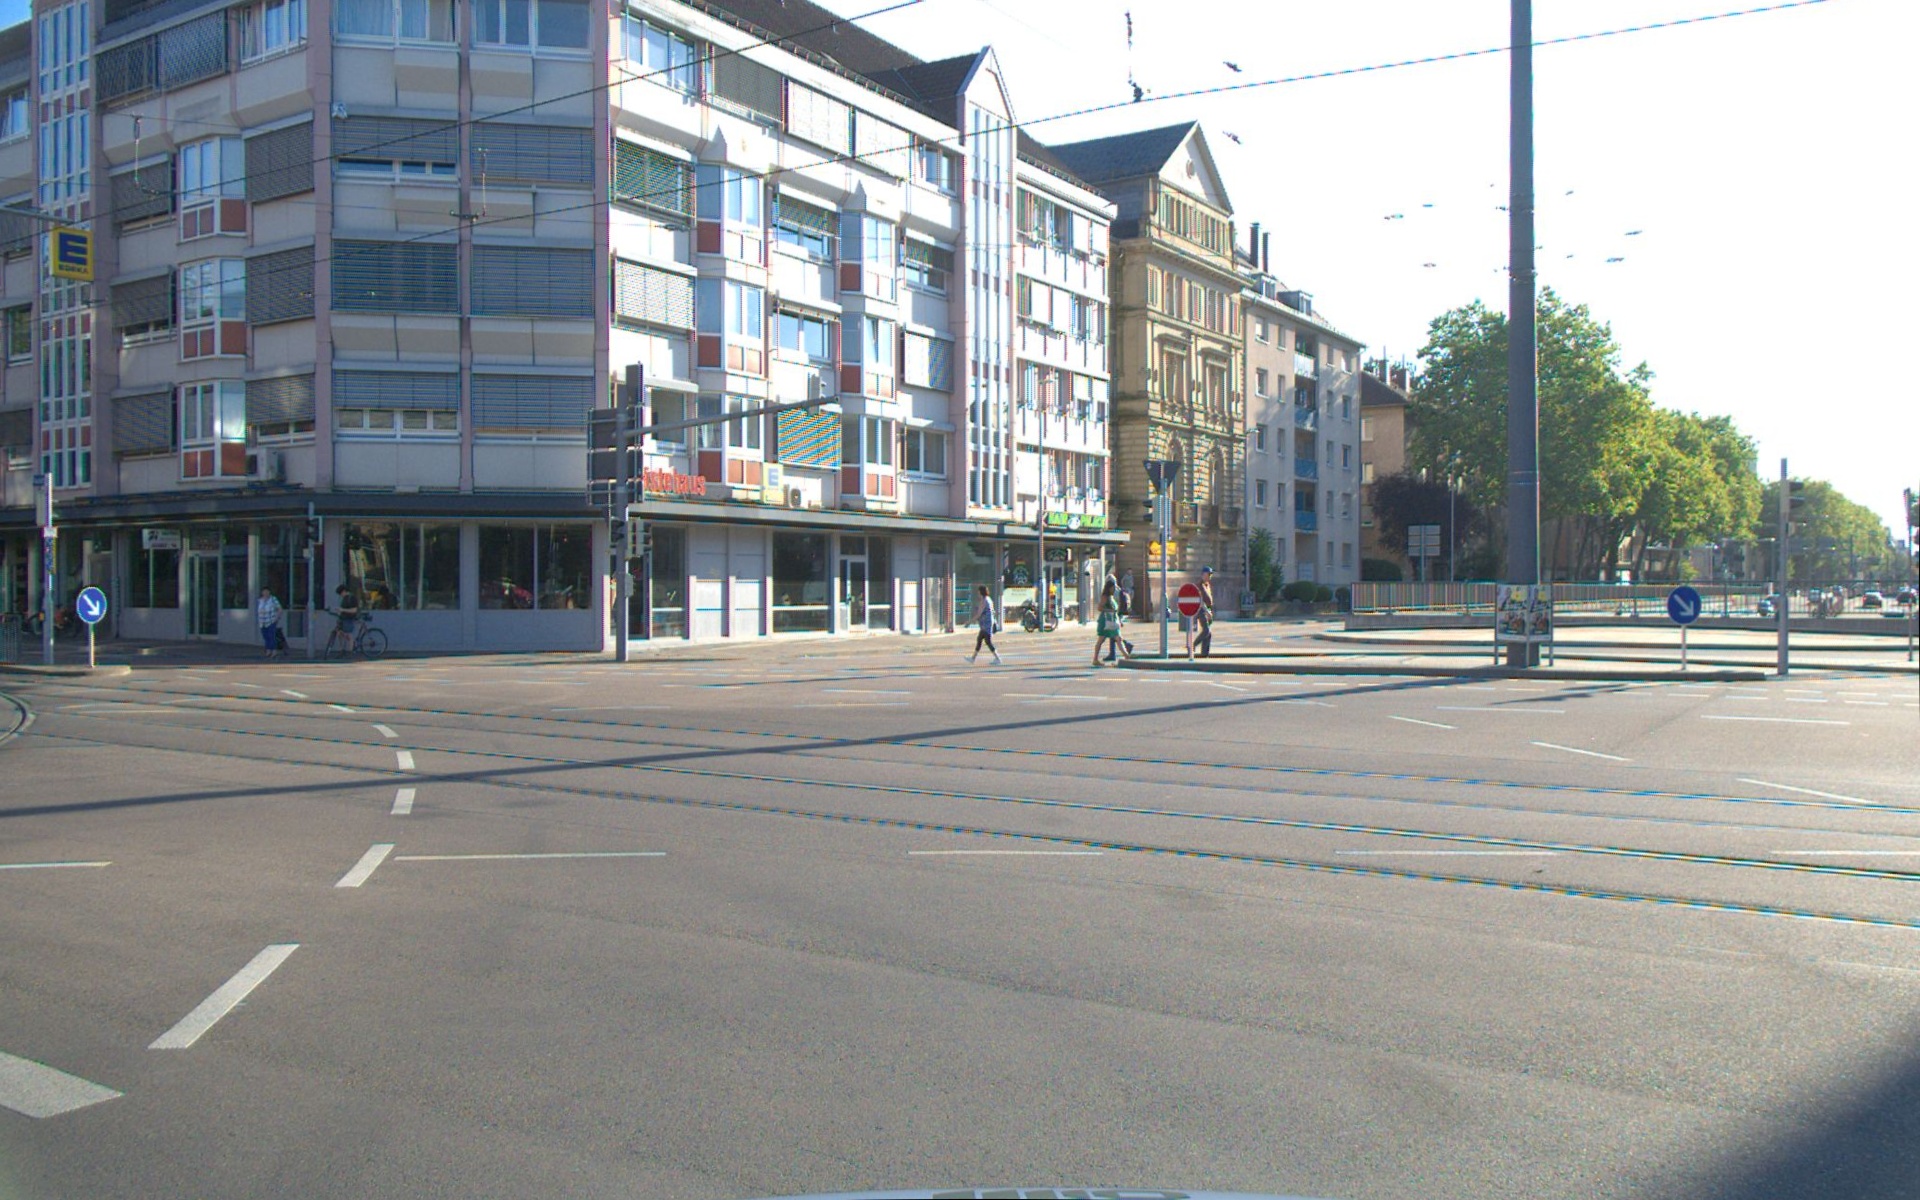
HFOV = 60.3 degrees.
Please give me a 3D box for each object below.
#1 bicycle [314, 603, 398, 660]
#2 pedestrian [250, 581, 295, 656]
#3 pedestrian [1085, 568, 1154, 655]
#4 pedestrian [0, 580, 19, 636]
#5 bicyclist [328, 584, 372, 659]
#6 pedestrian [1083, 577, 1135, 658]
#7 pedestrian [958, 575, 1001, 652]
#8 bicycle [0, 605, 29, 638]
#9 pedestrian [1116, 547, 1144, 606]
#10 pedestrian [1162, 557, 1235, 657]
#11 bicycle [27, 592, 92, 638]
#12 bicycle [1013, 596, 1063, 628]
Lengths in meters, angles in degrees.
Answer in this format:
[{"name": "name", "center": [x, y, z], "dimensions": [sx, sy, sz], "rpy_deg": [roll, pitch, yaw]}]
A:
[{"name": "bicycle", "center": [-13.740, 0.698, 37.653], "dimensions": [0.627, 1.165, 1.765], "rpy_deg": [2, 4, 33]}, {"name": "pedestrian", "center": [-15.736, 0.427, 37.866], "dimensions": [0.699, 1.691, 0.634], "rpy_deg": [0, 0, 7]}, {"name": "pedestrian", "center": [3.339, 0.236, 34.617], "dimensions": [1.171, 1.761, 0.855], "rpy_deg": [2, 1, 26]}, {"name": "pedestrian", "center": [-28.632, 0.239, 49.541], "dimensions": [0.598, 1.664, 0.601], "rpy_deg": [1, 1, -14]}, {"name": "bicyclist", "center": [-13.827, 0.475, 37.504], "dimensions": [0.628, 1.624, 0.656], "rpy_deg": [2, 4, 34]}, {"name": "pedestrian", "center": [2.835, 0.323, 31.367], "dimensions": [0.691, 1.478, 0.855], "rpy_deg": [2, 1, 26]}, {"name": "pedestrian", "center": [0.401, 0.285, 33.458], "dimensions": [0.836, 1.491, 0.686], "rpy_deg": [1, -4, 1]}, {"name": "bicycle", "center": [-27.856, 0.624, 48.182], "dimensions": [2.037, 0.933, 0.499], "rpy_deg": [0, 0, 36]}, {"name": "pedestrian", "center": [7.154, -0.994, 69.665], "dimensions": [0.907, 2.440, 0.961], "rpy_deg": [2, 1, 20]}, {"name": "pedestrian", "center": [4.707, 0.118, 32.626], "dimensions": [1.171, 1.916, 0.856], "rpy_deg": [2, 2, 26]}, {"name": "bicycle", "center": [-25.362, 0.413, 46.562], "dimensions": [2.286, 1.248, 0.727], "rpy_deg": [0, 0, 36]}, {"name": "bicycle", "center": [2.758, 0.414, 58.226], "dimensions": [2.075, 1.089, 0.445], "rpy_deg": [0, 1, -43]}]
